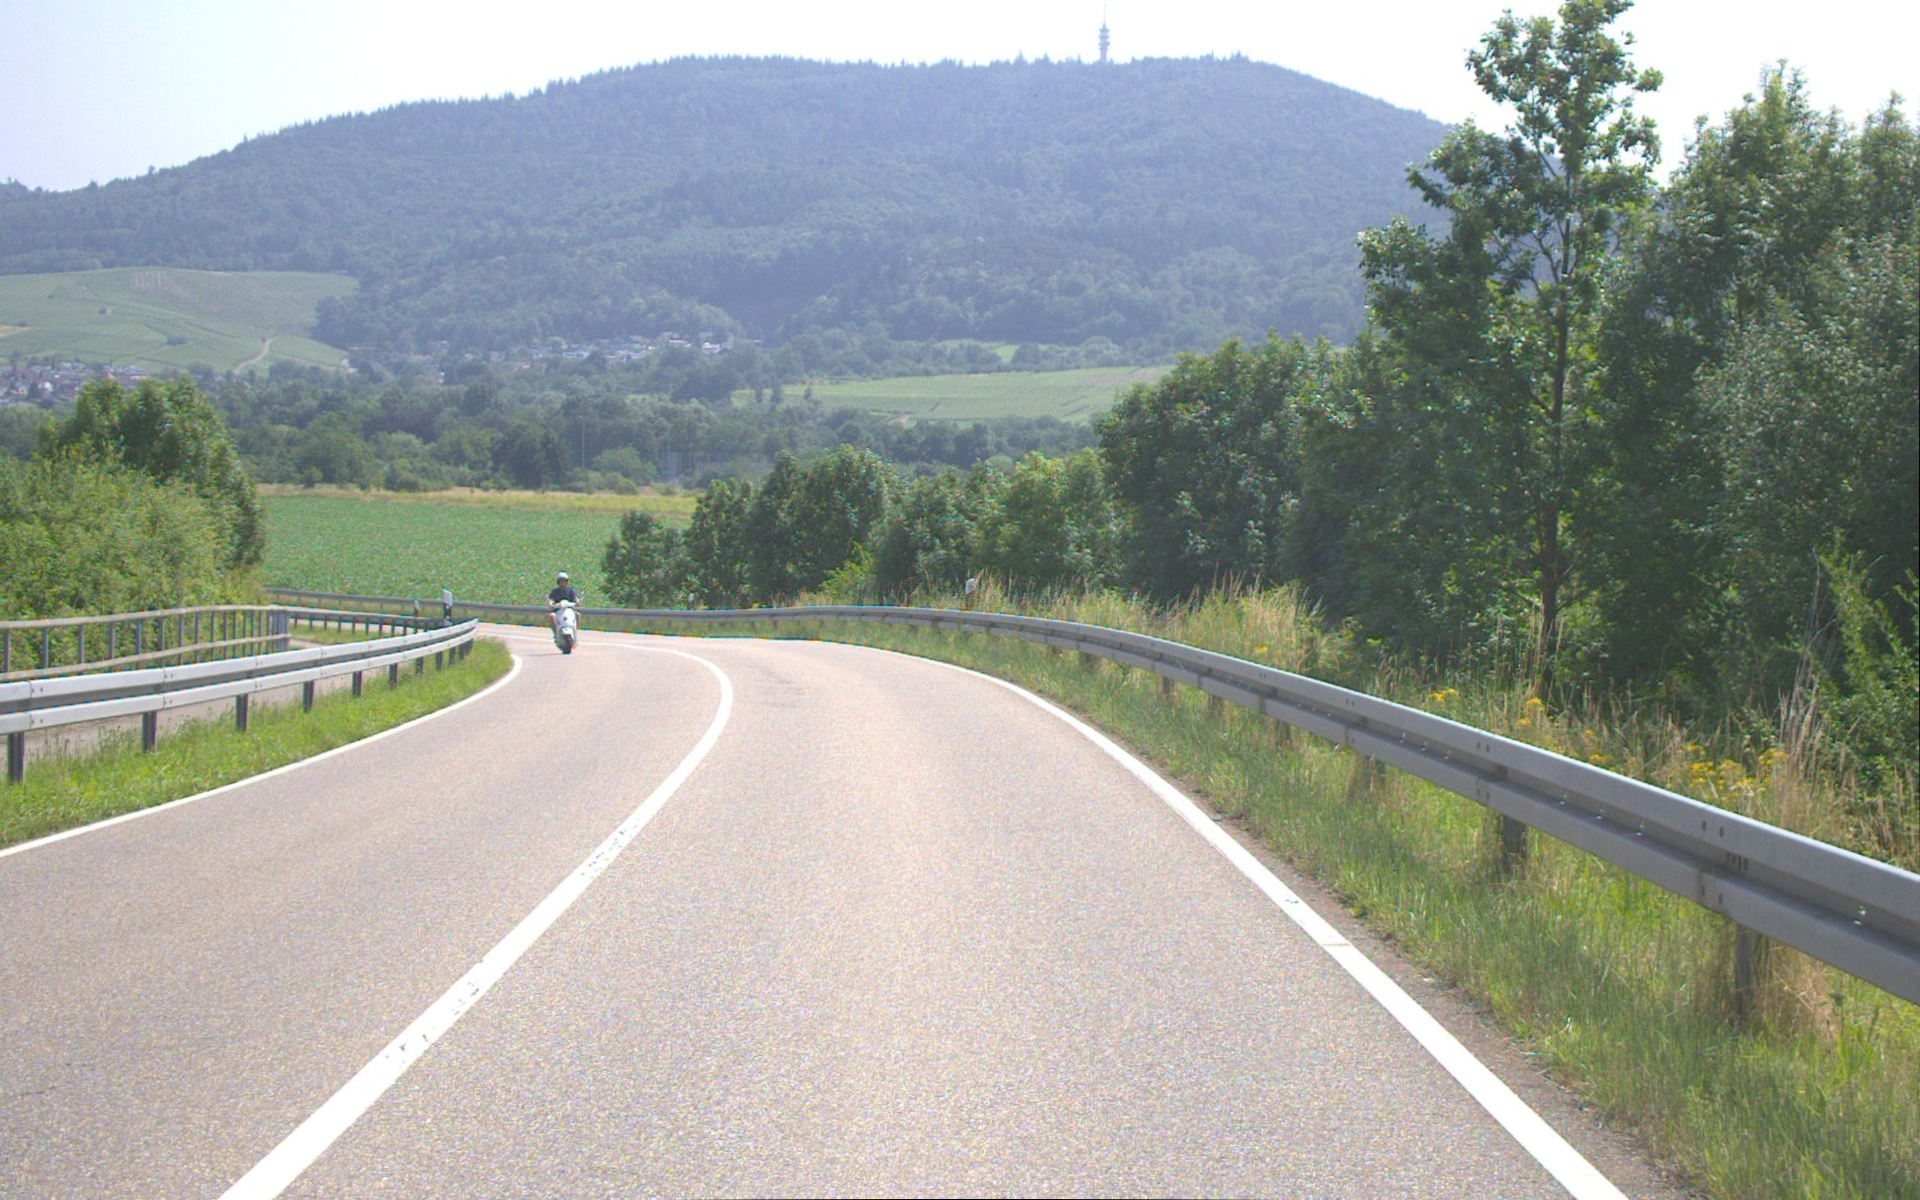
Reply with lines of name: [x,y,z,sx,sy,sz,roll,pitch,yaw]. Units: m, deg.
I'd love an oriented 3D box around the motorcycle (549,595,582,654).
motorcycle: [-8.367,0.515,72.820,0.643,1.219,1.638,-2,0,-7]

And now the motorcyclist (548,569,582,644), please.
motorcyclist: [-8.369,0.138,72.836,0.654,1.557,0.775,-2,0,-7]
